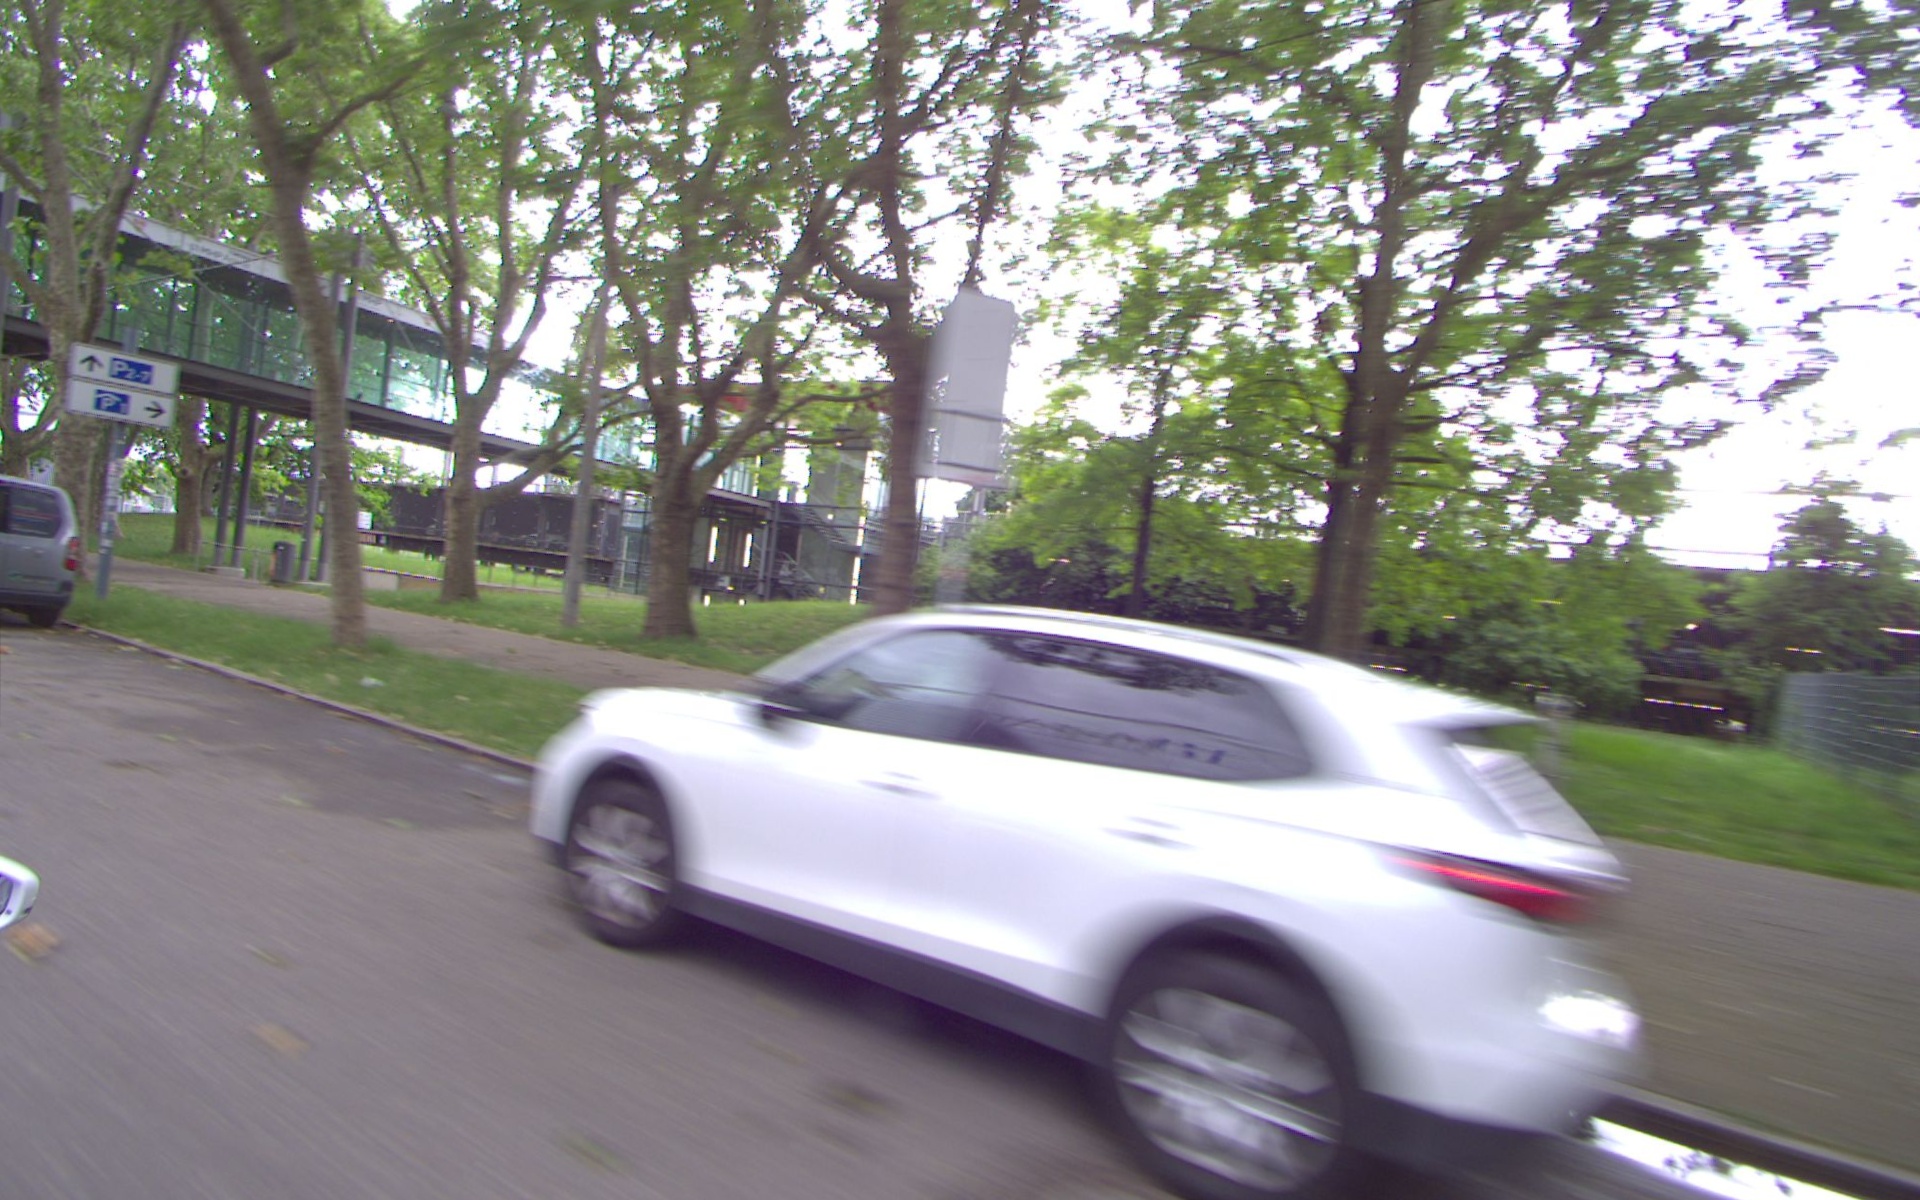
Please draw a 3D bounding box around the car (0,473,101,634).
[{"bbox_3d":[-13.349,-0.813,12.985,5.125,1.803,1.851,6,-2,32],"label":"car"}]

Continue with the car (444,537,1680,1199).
[{"bbox_3d":[0.085,0.809,4.364,4.671,1.637,1.917,6,-1,32],"label":"car"}]
